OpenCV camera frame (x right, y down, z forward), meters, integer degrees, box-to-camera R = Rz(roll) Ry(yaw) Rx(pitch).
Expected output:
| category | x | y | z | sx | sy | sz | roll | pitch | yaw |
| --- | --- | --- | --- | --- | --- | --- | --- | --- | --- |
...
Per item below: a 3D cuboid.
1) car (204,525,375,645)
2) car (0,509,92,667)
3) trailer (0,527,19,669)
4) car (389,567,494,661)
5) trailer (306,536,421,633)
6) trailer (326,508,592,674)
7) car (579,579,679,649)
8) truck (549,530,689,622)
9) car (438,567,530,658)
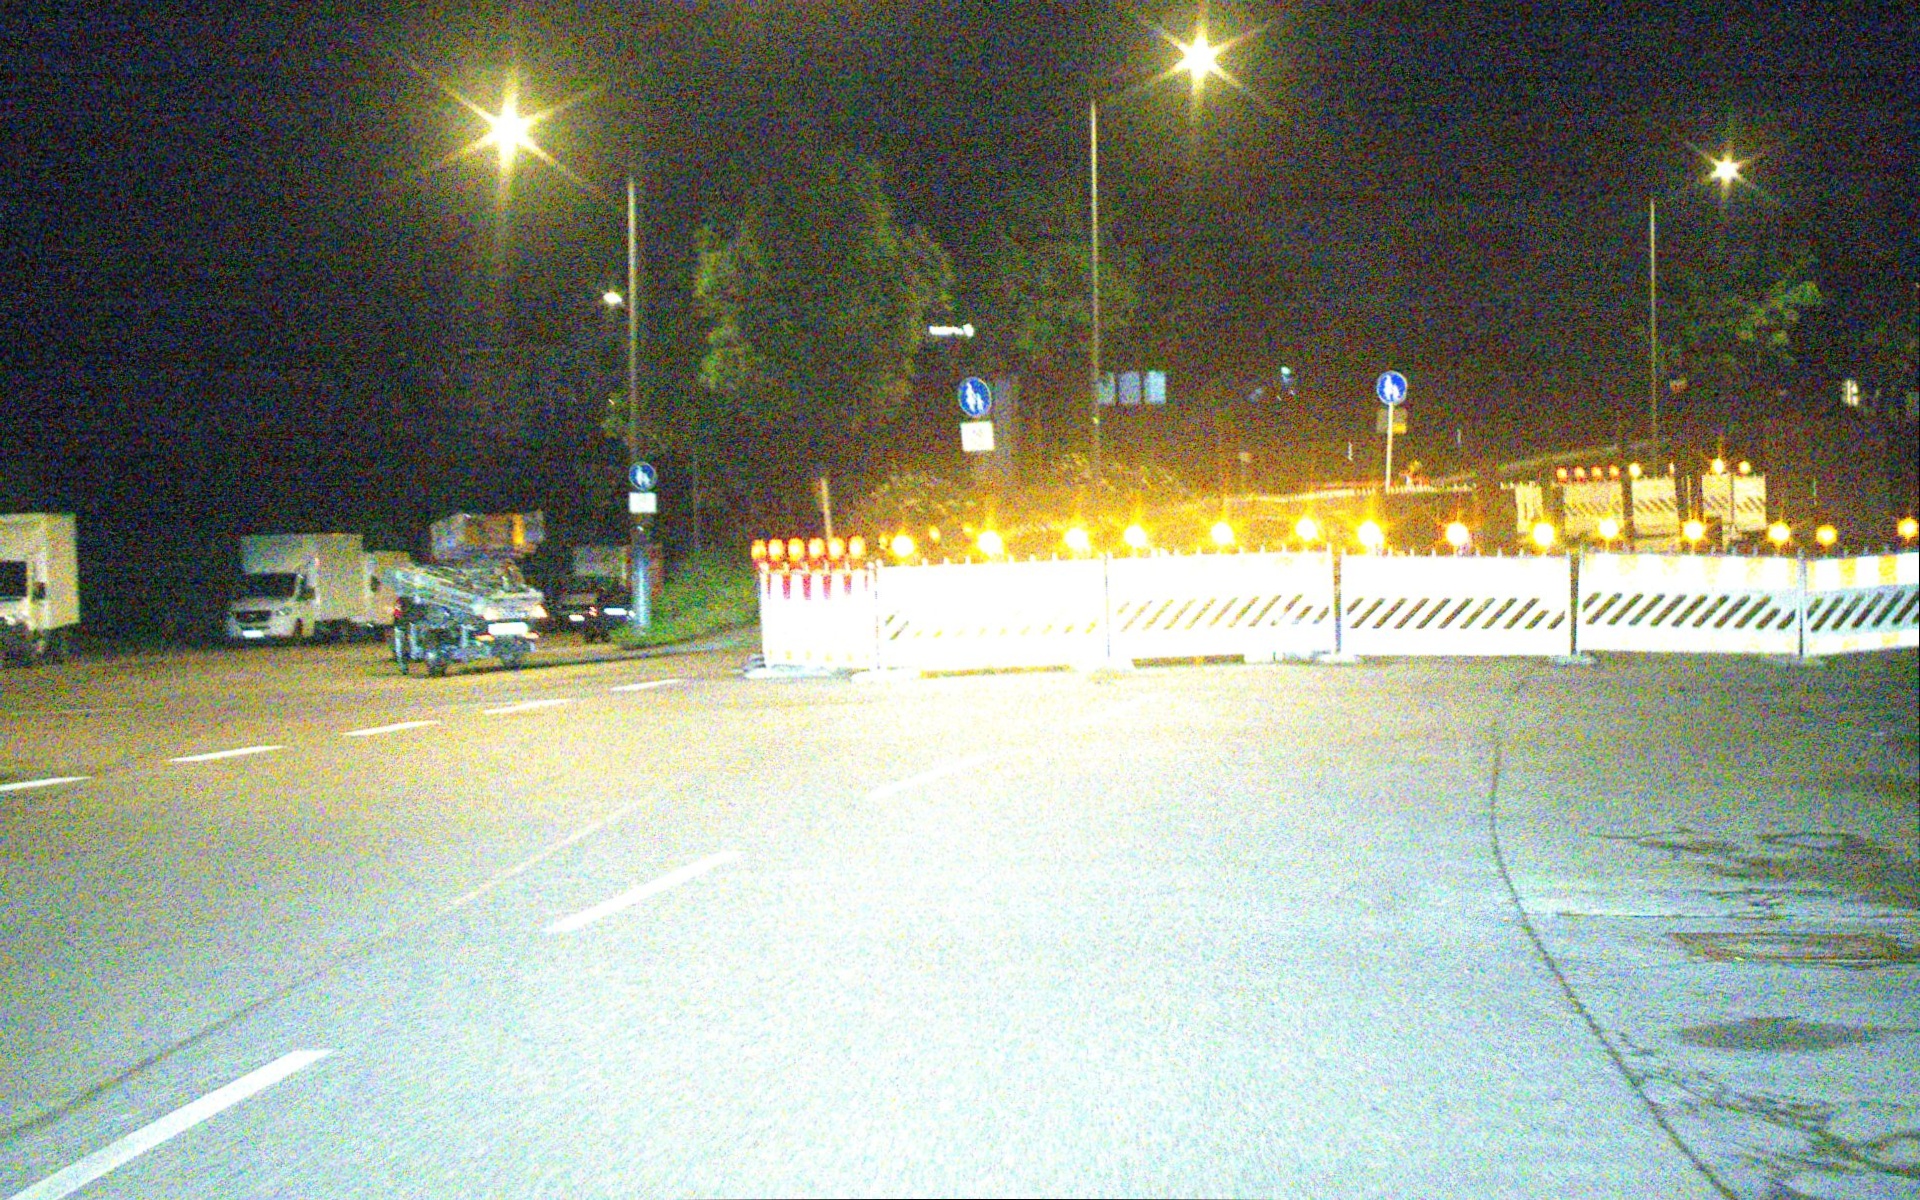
| category | x | y | z | sx | sy | sz | roll | pitch | yaw |
| --- | --- | --- | --- | --- | --- | --- | --- | --- | --- |
| car | -19.063 | -0.479 | 98.202 | 2.519 | 3.160 | 7.136 | -3 | 1 | 7 |
| car | -18.934 | -0.206 | 67.903 | 2.518 | 2.917 | 7.203 | -3 | 1 | -8 |
| trailer | -18.070 | 0.012 | 60.956 | 1.993 | 2.519 | 3.569 | -3 | 1 | -6 |
| car | -9.592 | 0.259 | 63.847 | 1.720 | 1.655 | 4.001 | -1 | 0 | -6 |
| trailer | -18.132 | -0.494 | 104.750 | 1.994 | 2.803 | 4.701 | -2 | 1 | 8 |
| trailer | -7.219 | -0.080 | 49.095 | 1.559 | 2.153 | 5.221 | -4 | 1 | -34 |
| car | -8.857 | 0.376 | 92.308 | 1.721 | 1.815 | 3.998 | -1 | 0 | 9 |
| truck | -13.153 | -0.977 | 133.312 | 1.995 | 3.392 | 8.972 | 0 | 1 | 17 |
| car | -9.869 | 0.253 | 71.486 | 1.720 | 1.815 | 4.001 | -1 | 0 | -6 |
